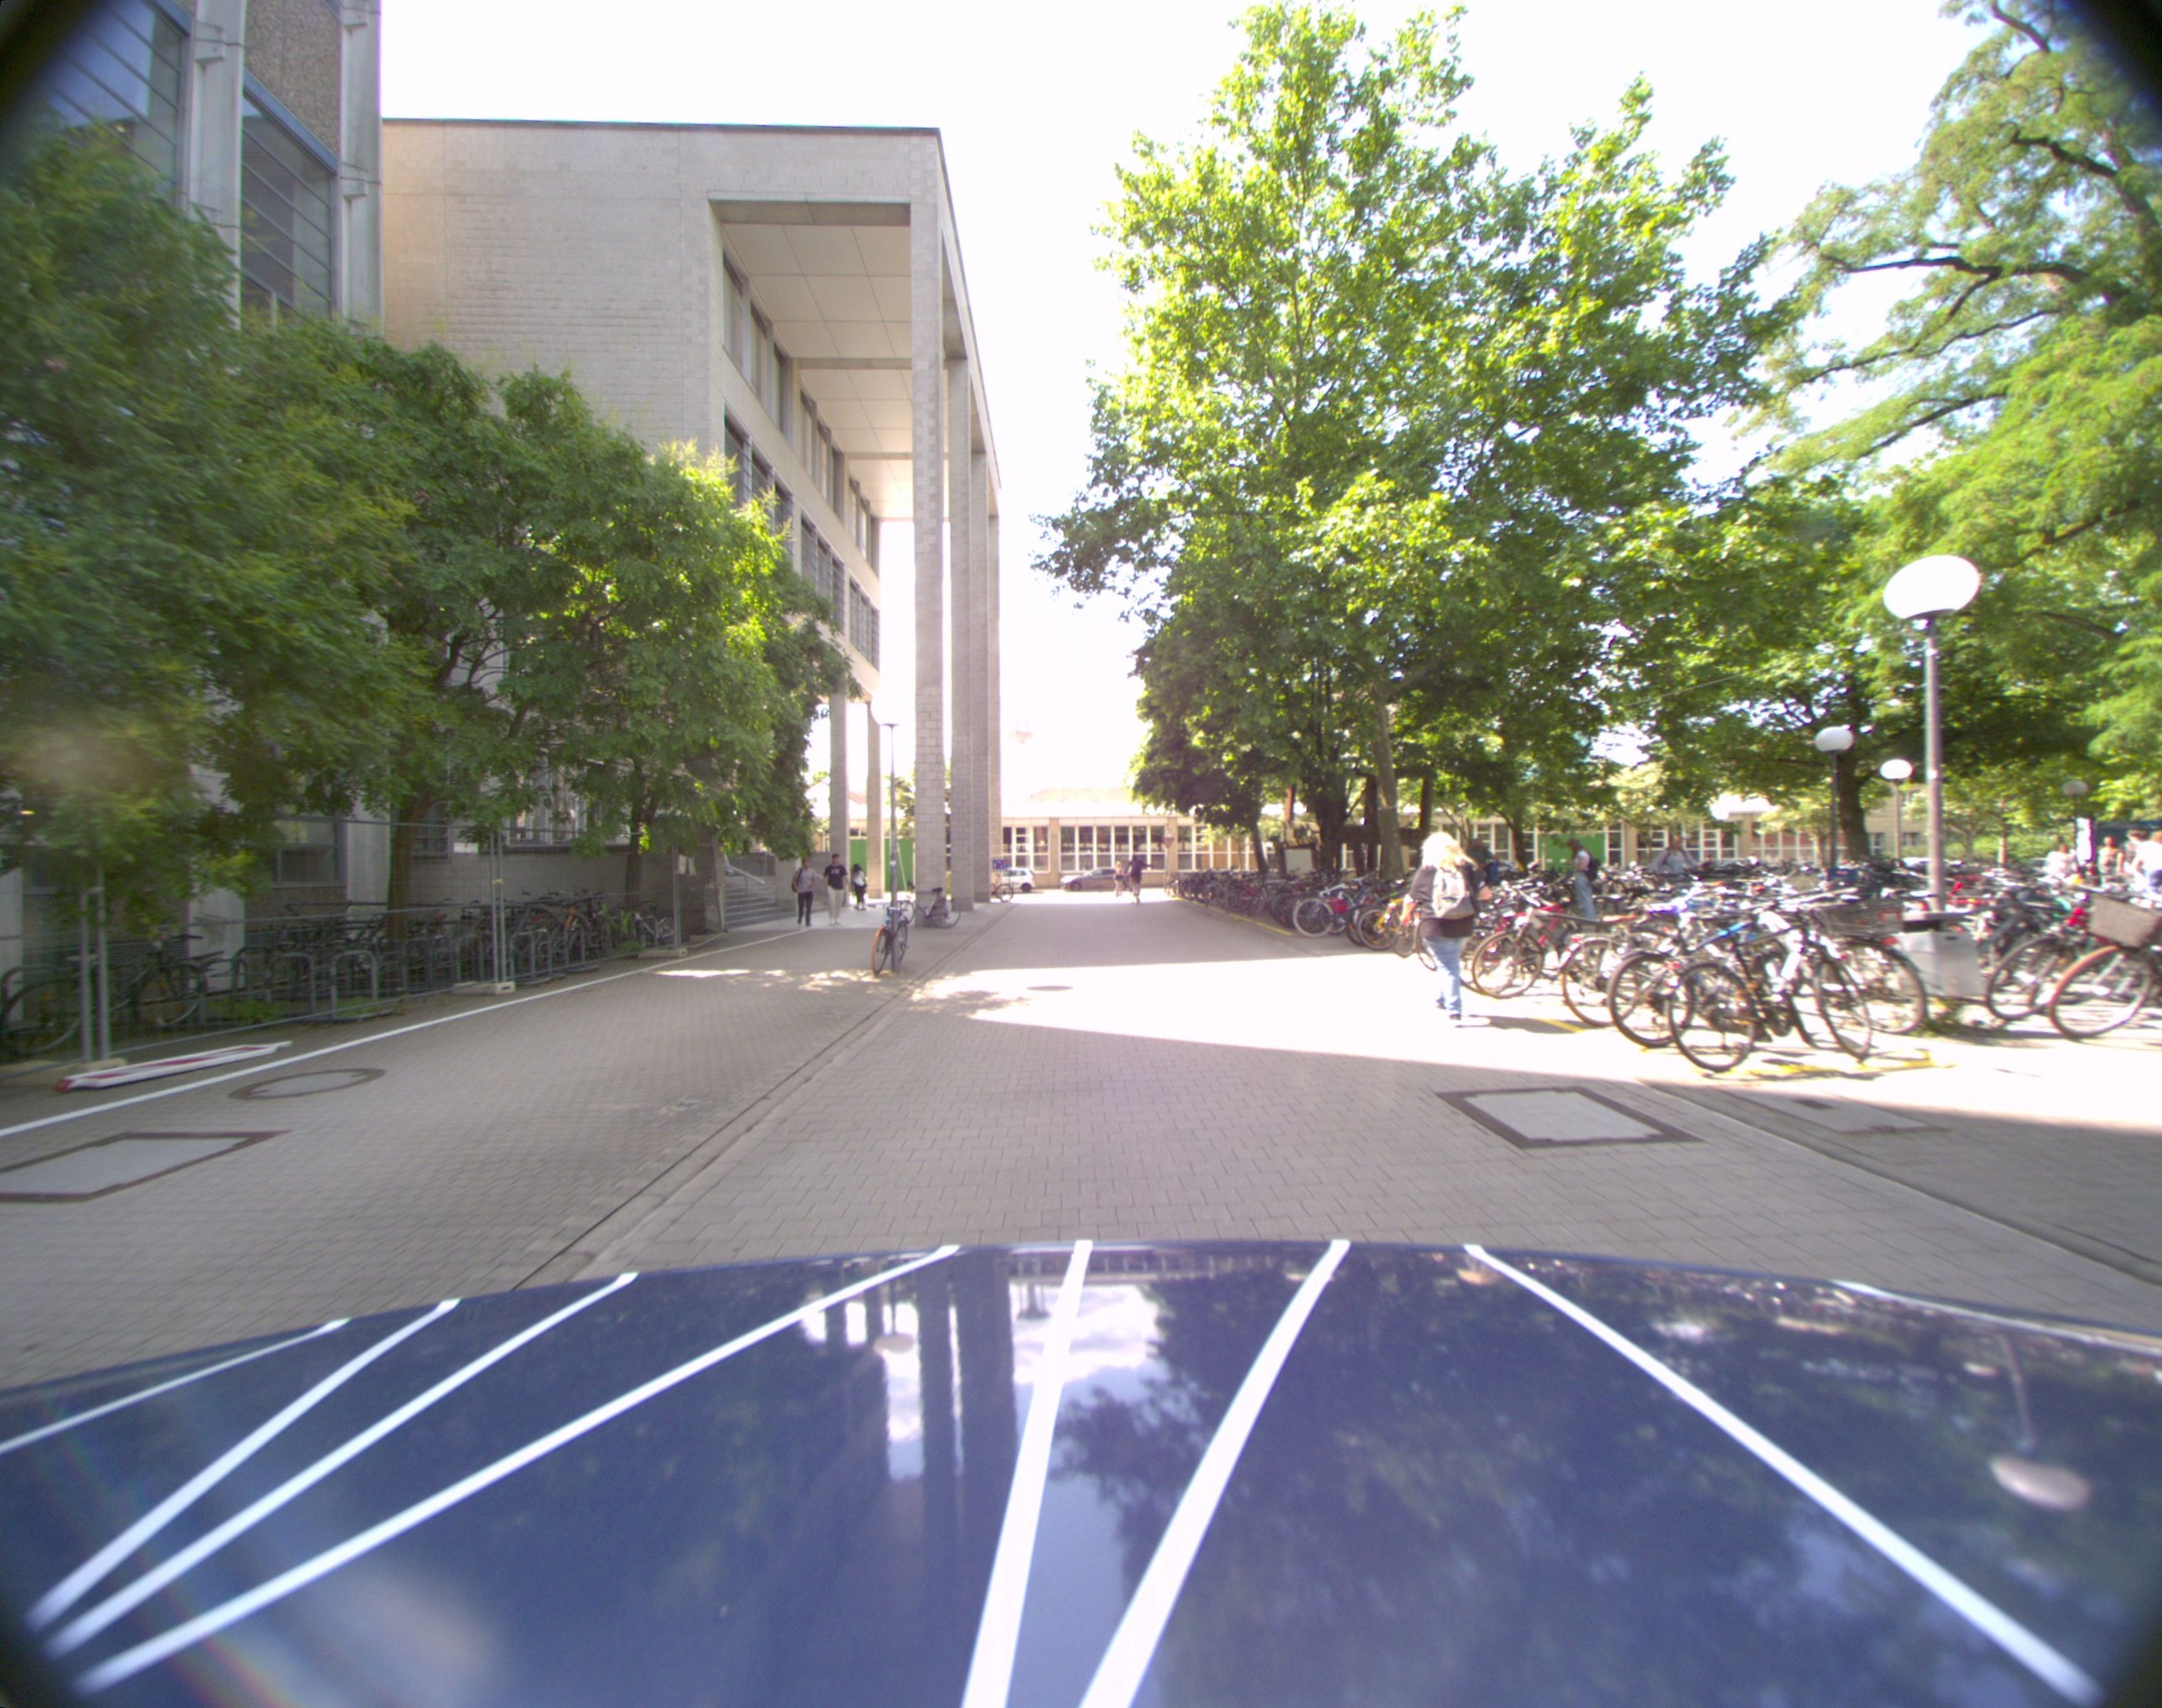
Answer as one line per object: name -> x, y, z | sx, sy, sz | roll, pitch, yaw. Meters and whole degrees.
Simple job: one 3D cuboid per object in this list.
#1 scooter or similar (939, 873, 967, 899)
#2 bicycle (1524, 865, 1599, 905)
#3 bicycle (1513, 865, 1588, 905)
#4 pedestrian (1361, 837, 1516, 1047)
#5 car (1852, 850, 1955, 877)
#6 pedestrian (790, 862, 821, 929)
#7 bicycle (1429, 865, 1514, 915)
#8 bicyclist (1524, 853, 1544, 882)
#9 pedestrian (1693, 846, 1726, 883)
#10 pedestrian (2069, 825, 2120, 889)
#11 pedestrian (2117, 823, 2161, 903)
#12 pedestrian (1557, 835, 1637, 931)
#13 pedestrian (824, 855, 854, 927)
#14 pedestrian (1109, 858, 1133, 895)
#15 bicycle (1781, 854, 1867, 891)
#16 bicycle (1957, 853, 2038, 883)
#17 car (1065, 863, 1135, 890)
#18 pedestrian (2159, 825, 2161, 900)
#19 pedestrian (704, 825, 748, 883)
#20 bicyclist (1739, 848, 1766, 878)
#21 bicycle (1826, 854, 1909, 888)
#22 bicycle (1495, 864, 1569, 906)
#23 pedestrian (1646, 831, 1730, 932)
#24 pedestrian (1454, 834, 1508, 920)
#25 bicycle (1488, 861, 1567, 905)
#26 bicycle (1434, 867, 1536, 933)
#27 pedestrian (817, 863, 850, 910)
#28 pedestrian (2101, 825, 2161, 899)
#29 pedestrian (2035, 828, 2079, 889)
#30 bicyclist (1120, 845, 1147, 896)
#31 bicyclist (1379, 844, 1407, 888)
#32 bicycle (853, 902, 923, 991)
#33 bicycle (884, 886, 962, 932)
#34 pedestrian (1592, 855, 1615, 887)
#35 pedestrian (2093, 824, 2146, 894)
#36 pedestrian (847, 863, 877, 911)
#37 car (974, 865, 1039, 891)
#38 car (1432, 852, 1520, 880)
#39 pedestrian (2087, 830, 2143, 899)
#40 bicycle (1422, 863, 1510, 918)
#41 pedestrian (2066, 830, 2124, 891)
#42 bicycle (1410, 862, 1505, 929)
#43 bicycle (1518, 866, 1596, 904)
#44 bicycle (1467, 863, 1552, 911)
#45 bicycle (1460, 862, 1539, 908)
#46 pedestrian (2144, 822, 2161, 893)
scooter or similar -> -5.870, 1.463, 34.794 | 1.157, 1.144, 0.444 | -1, 0, 4
bicycle -> 14.127, 0.895, 22.393 | 0.504, 1.101, 1.775 | -2, 0, -38
bicycle -> 13.543, 0.873, 21.960 | 0.504, 1.101, 1.775 | -2, 0, -38
pedestrian -> 3.146, 0.717, 6.716 | 0.771, 1.670, 0.905 | -4, 1, -33
car -> 51.333, 0.598, 47.466 | 4.536, 1.532, 1.838 | -1, -1, -3
pedestrian -> -7.020, 1.038, 19.404 | 0.703, 1.645, 0.881 | -1, -1, -19
bicycle -> 9.163, 0.838, 17.838 | 1.695, 1.101, 0.504 | -2, 0, 35
bicyclist -> 24.312, 0.714, 40.761 | 0.727, 1.526, 0.605 | -1, 2, 1
pedestrian -> 28.865, 0.494, 34.906 | 0.874, 1.674, 0.728 | -1, 0, -4
pedestrian -> 28.846, 0.090, 21.630 | 0.659, 1.764, 0.609 | -2, 0, -10
pedestrian -> 22.903, 0.182, 16.282 | 0.908, 1.670, 0.768 | -2, 0, -34
pedestrian -> 9.389, 0.519, 13.862 | 0.906, 1.693, 0.770 | -2, 0, 4
pedestrian -> -6.251, 0.946, 19.634 | 0.703, 1.792, 0.881 | -1, -1, -19
pedestrian -> 1.796, 0.992, 34.060 | 0.883, 1.645, 0.702 | -1, 0, -11
bicycle -> 22.943, 0.569, 23.500 | 0.475, 1.077, 1.854 | -2, 0, -38
bicycle -> 33.978, 0.528, 28.198 | 0.475, 1.077, 1.854 | -2, 0, -32
car -> 1.138, 1.393, 46.634 | 4.209, 1.467, 1.653 | -2, 1, -1
pedestrian -> 26.111, 0.184, 17.916 | 0.908, 1.764, 0.768 | -2, 0, -34
pedestrian -> -11.386, -0.001, 24.369 | 0.959, 1.803, 0.770 | -2, 0, 4
bicyclist -> 35.515, 0.462, 40.181 | 0.874, 1.564, 0.640 | -1, 1, -5
bicycle -> 26.129, 0.569, 25.264 | 0.475, 1.077, 1.854 | -2, 0, -38
bicycle -> 12.480, 0.859, 21.061 | 1.695, 1.101, 0.504 | -2, 0, 39
pedestrian -> 10.607, 0.462, 13.290 | 0.771, 1.693, 0.905 | -2, 0, -33
pedestrian -> 8.717, 0.490, 16.550 | 0.771, 1.796, 0.708 | -2, 0, -34
bicycle -> 11.769, 0.770, 20.068 | 1.695, 1.101, 0.633 | -2, 0, 39
bicycle -> 7.372, 0.821, 13.866 | 1.700, 1.101, 0.502 | -2, 0, -12
pedestrian -> -8.894, 1.155, 27.313 | 0.897, 1.660, 0.676 | -1, 0, 11
pedestrian -> 24.428, 0.188, 17.671 | 0.908, 1.670, 0.768 | -2, 0, -34
pedestrian -> 28.710, 0.144, 22.359 | 0.671, 1.761, 0.502 | -2, 0, -8
bicyclist -> 1.793, 0.556, 26.180 | 0.773, 1.706, 0.911 | -2, 1, -3
bicyclist -> 14.403, 0.567, 35.082 | 0.803, 1.882, 0.868 | -5, 5, 39
bicycle -> -2.692, 1.252, 10.760 | 0.538, 1.033, 1.858 | -1, 0, -1
bicycle -> -3.667, 1.269, 17.701 | 1.744, 1.033, 0.449 | 0, -1, -5
pedestrian -> 25.206, 0.796, 36.642 | 0.842, 1.511, 0.569 | -2, 0, -29
pedestrian -> 27.106, 0.119, 19.829 | 0.908, 1.764, 0.768 | -2, 0, -34
pedestrian -> -7.554, 1.119, 26.176 | 0.809, 1.608, 0.739 | -1, 0, -33
car -> -4.498, 1.465, 46.412 | 3.777, 1.468, 1.653 | -1, 2, -1
car -> 24.427, 0.712, 47.058 | 4.536, 1.608, 1.837 | -1, 1, -3
pedestrian -> 25.512, 0.252, 18.749 | 0.908, 1.670, 0.768 | -2, 0, -34
bicycle -> 8.774, 0.823, 17.352 | 1.695, 1.192, 0.577 | -2, 0, 35
pedestrian -> 30.113, 0.182, 22.565 | 0.908, 1.764, 0.769 | -2, 0, -19
bicycle -> 7.376, 0.794, 14.908 | 1.700, 1.213, 0.502 | -2, 0, -12
bicycle -> 14.378, 0.926, 22.998 | 0.504, 1.101, 1.902 | -2, 0, -38
bicycle -> 10.262, 0.785, 18.219 | 1.695, 1.101, 0.504 | -2, 0, 35
bicycle -> 10.705, 0.788, 19.479 | 1.695, 1.101, 0.504 | -2, 0, 39
pedestrian -> 27.059, 0.071, 18.832 | 0.908, 1.764, 0.768 | -2, 0, -34
